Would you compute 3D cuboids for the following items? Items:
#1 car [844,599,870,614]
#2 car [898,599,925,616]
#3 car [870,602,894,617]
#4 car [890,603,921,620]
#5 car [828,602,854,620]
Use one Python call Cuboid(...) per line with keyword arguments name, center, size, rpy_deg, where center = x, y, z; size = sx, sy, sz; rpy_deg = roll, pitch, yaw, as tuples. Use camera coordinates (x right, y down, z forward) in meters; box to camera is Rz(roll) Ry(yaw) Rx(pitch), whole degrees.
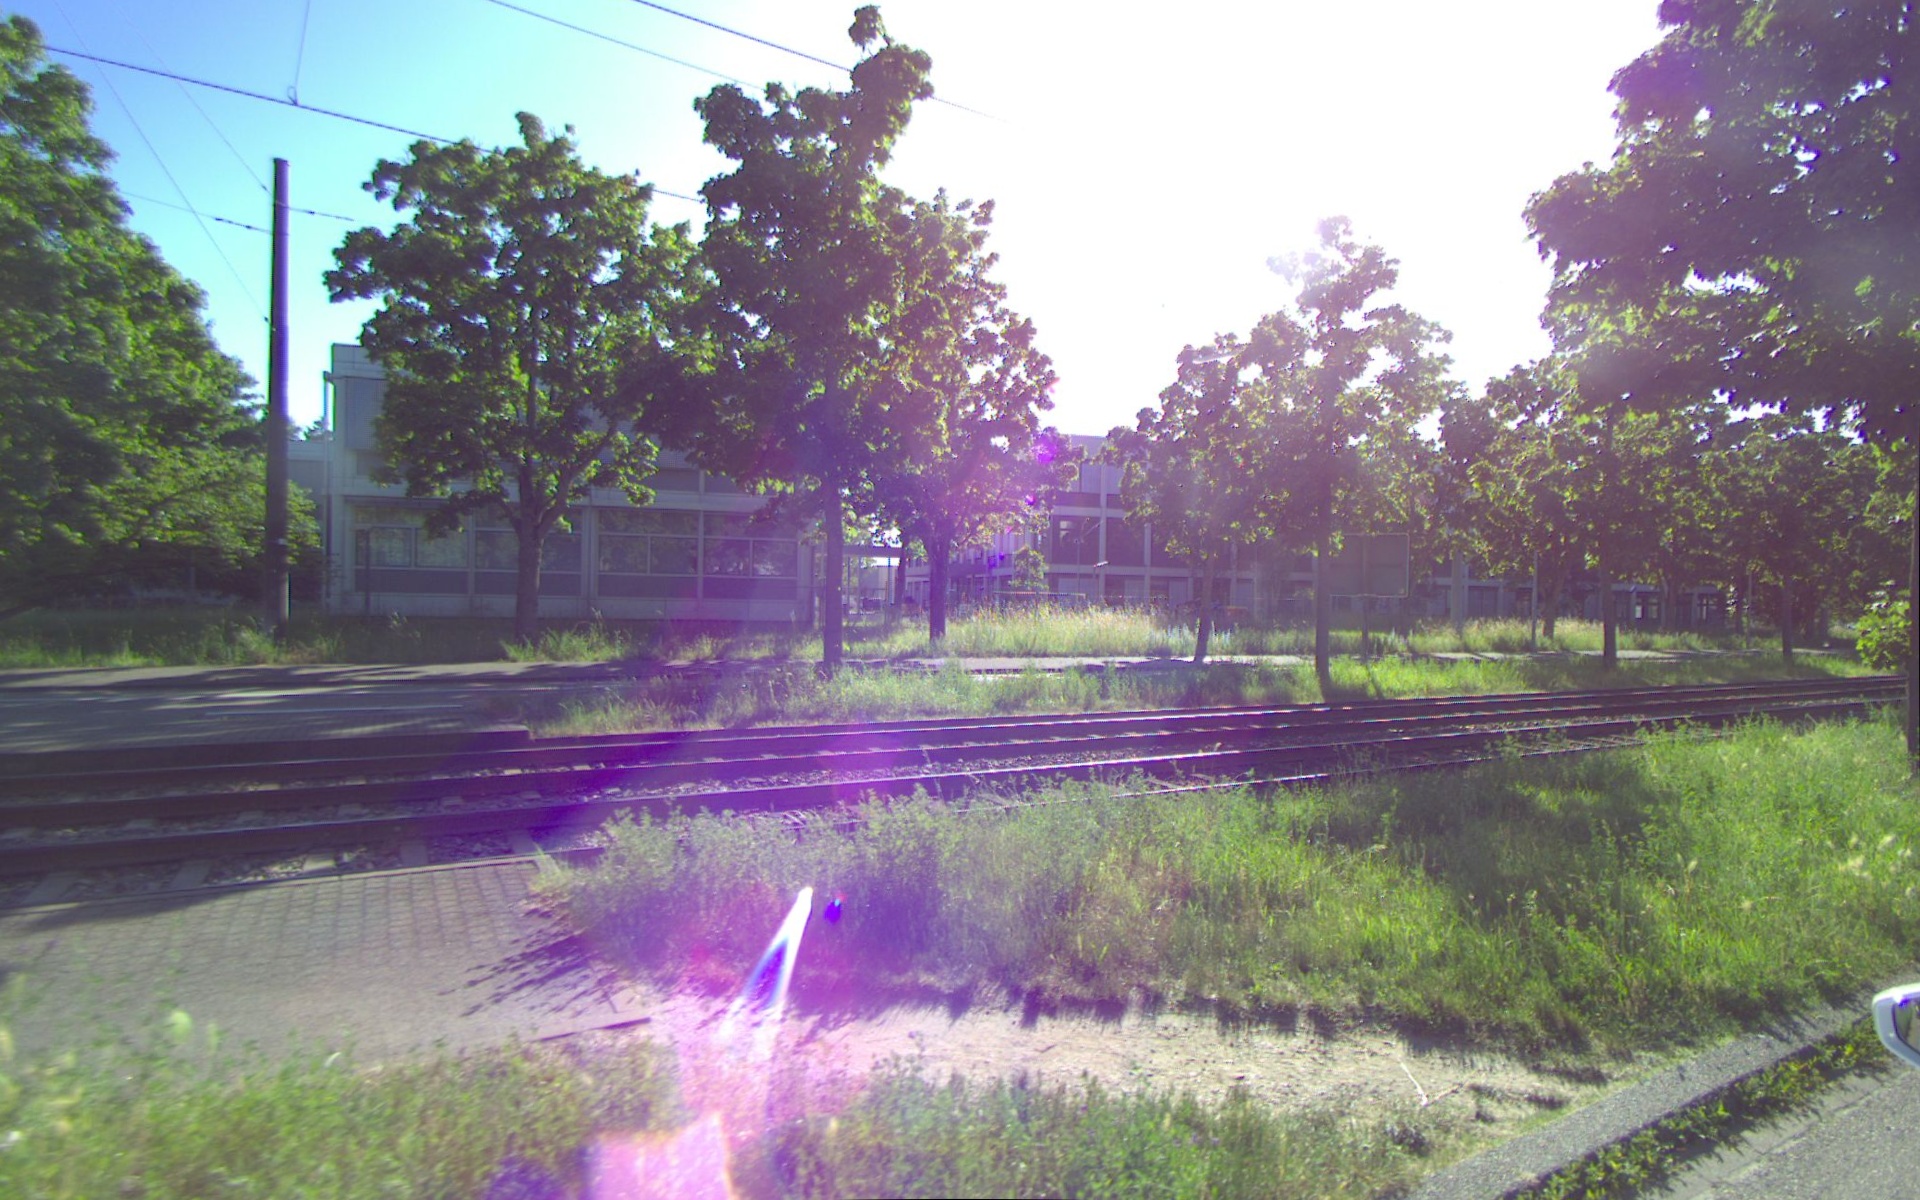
Cuboid(name="car", center=(-9.345, 0.578, 90.936), size=(1.816, 1.247, 4.538), rpy_deg=(1, 0, -13))
Cuboid(name="car", center=(-4.538, 0.672, 93.708), size=(1.816, 1.513, 4.538), rpy_deg=(1, 0, -12))
Cuboid(name="car", center=(-7.743, 0.899, 99.124), size=(1.815, 1.380, 4.540), rpy_deg=(1, 0, -11))
Cuboid(name="car", center=(-4.491, 0.942, 82.725), size=(1.816, 1.284, 4.538), rpy_deg=(1, 0, -13))
Cuboid(name="car", center=(-9.240, 0.816, 77.658), size=(1.603, 1.259, 4.214), rpy_deg=(1, 0, -13))
